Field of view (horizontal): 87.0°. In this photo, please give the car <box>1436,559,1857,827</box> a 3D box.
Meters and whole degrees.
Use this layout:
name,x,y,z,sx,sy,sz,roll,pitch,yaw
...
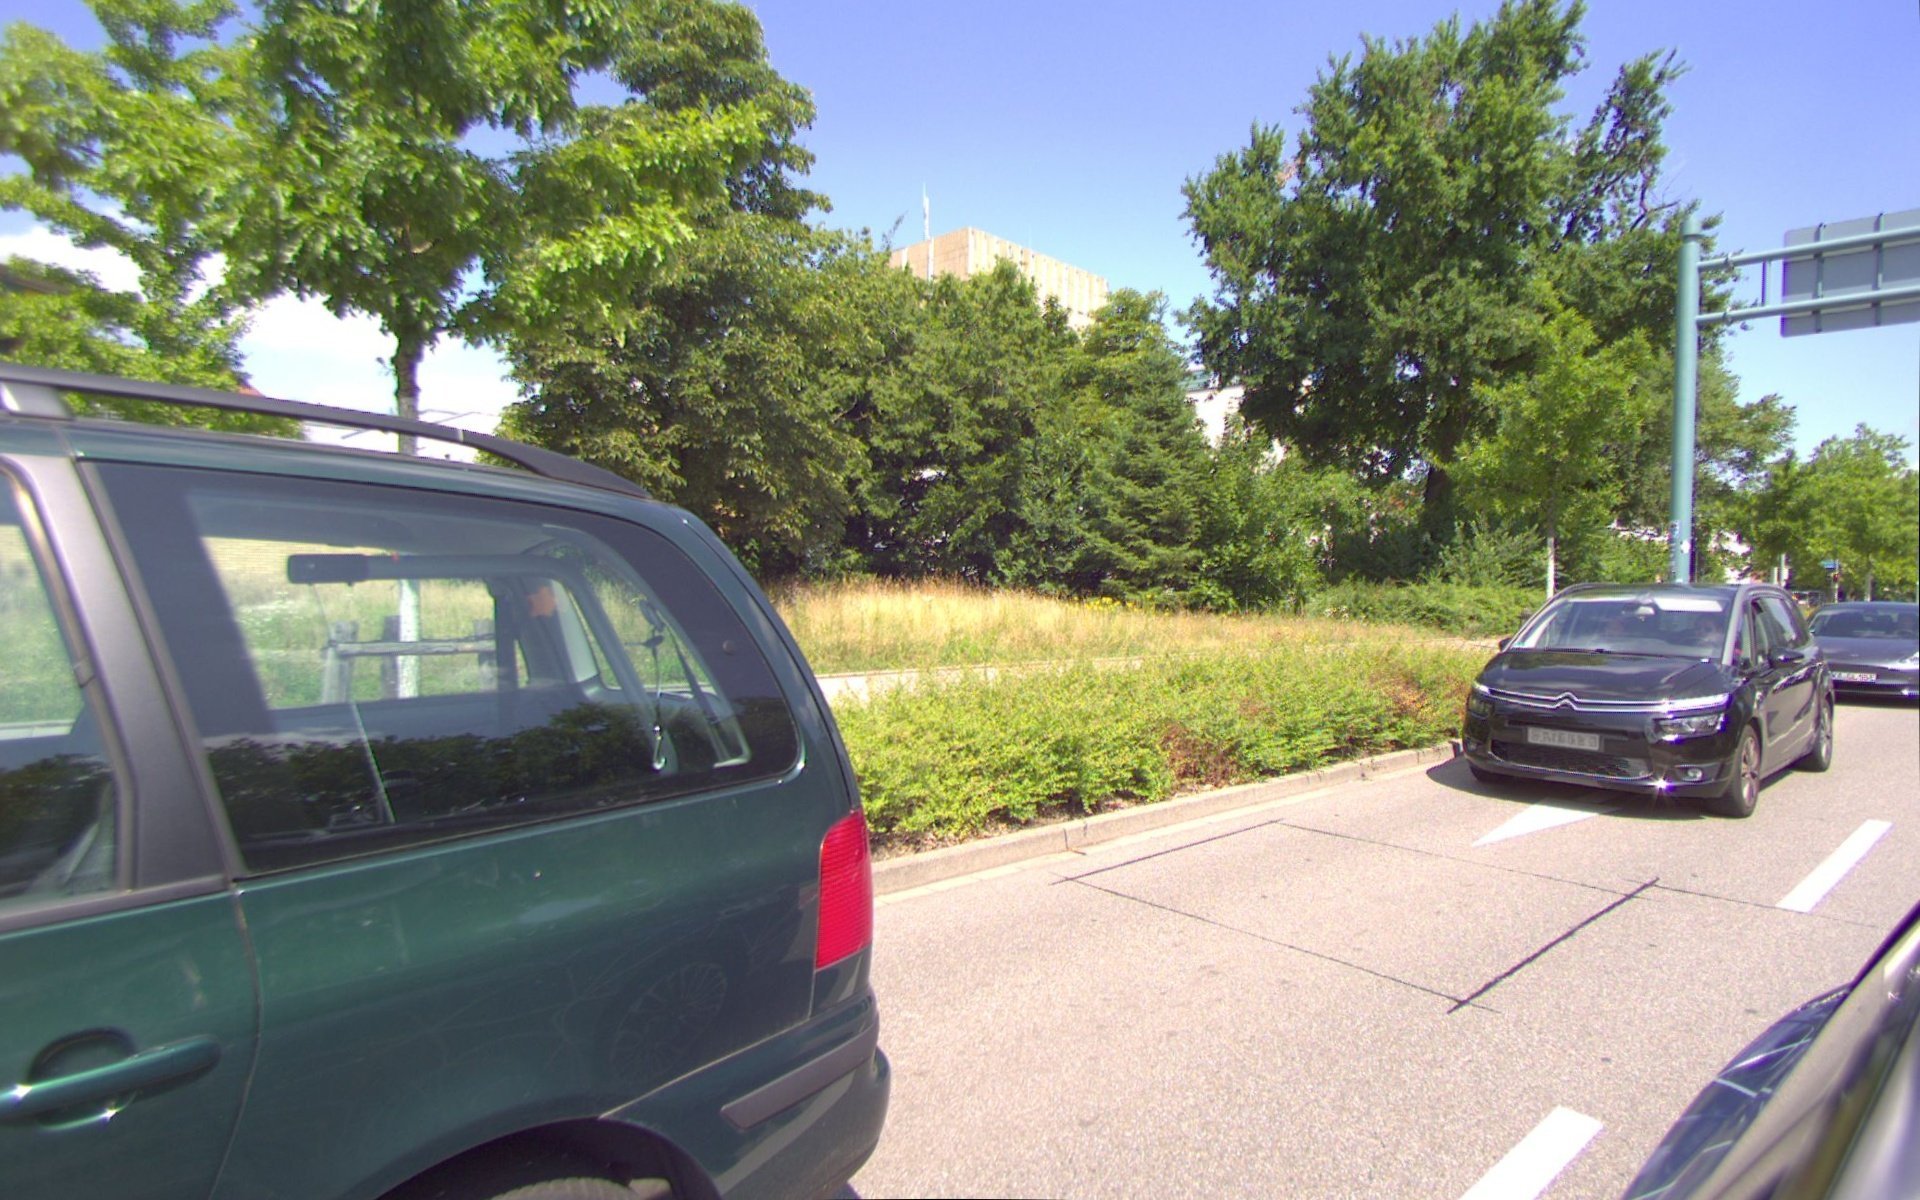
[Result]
name,x,y,z,sx,sy,sz,roll,pitch,yaw
car,5.862,0.586,8.407,4.442,1.643,1.861,0,-1,-42

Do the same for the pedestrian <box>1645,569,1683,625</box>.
name,x,y,z,sx,sy,sz,roll,pitch,yaw
pedestrian,22.731,-0.102,32.692,0.827,1.787,0.843,0,0,-41

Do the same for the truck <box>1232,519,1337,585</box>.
name,x,y,z,sx,sy,sz,roll,pitch,yaw
truck,16.224,-2.285,50.371,2.092,3.061,7.011,0,1,44

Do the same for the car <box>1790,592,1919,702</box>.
name,x,y,z,sx,sy,sz,roll,pitch,yaw
car,13.890,0.634,15.129,4.290,1.435,1.763,0,0,-43

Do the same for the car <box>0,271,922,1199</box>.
name,x,y,z,sx,sy,sz,roll,pitch,yaw
car,-2.289,0.537,1.055,4.370,1.745,1.797,0,-1,-41
